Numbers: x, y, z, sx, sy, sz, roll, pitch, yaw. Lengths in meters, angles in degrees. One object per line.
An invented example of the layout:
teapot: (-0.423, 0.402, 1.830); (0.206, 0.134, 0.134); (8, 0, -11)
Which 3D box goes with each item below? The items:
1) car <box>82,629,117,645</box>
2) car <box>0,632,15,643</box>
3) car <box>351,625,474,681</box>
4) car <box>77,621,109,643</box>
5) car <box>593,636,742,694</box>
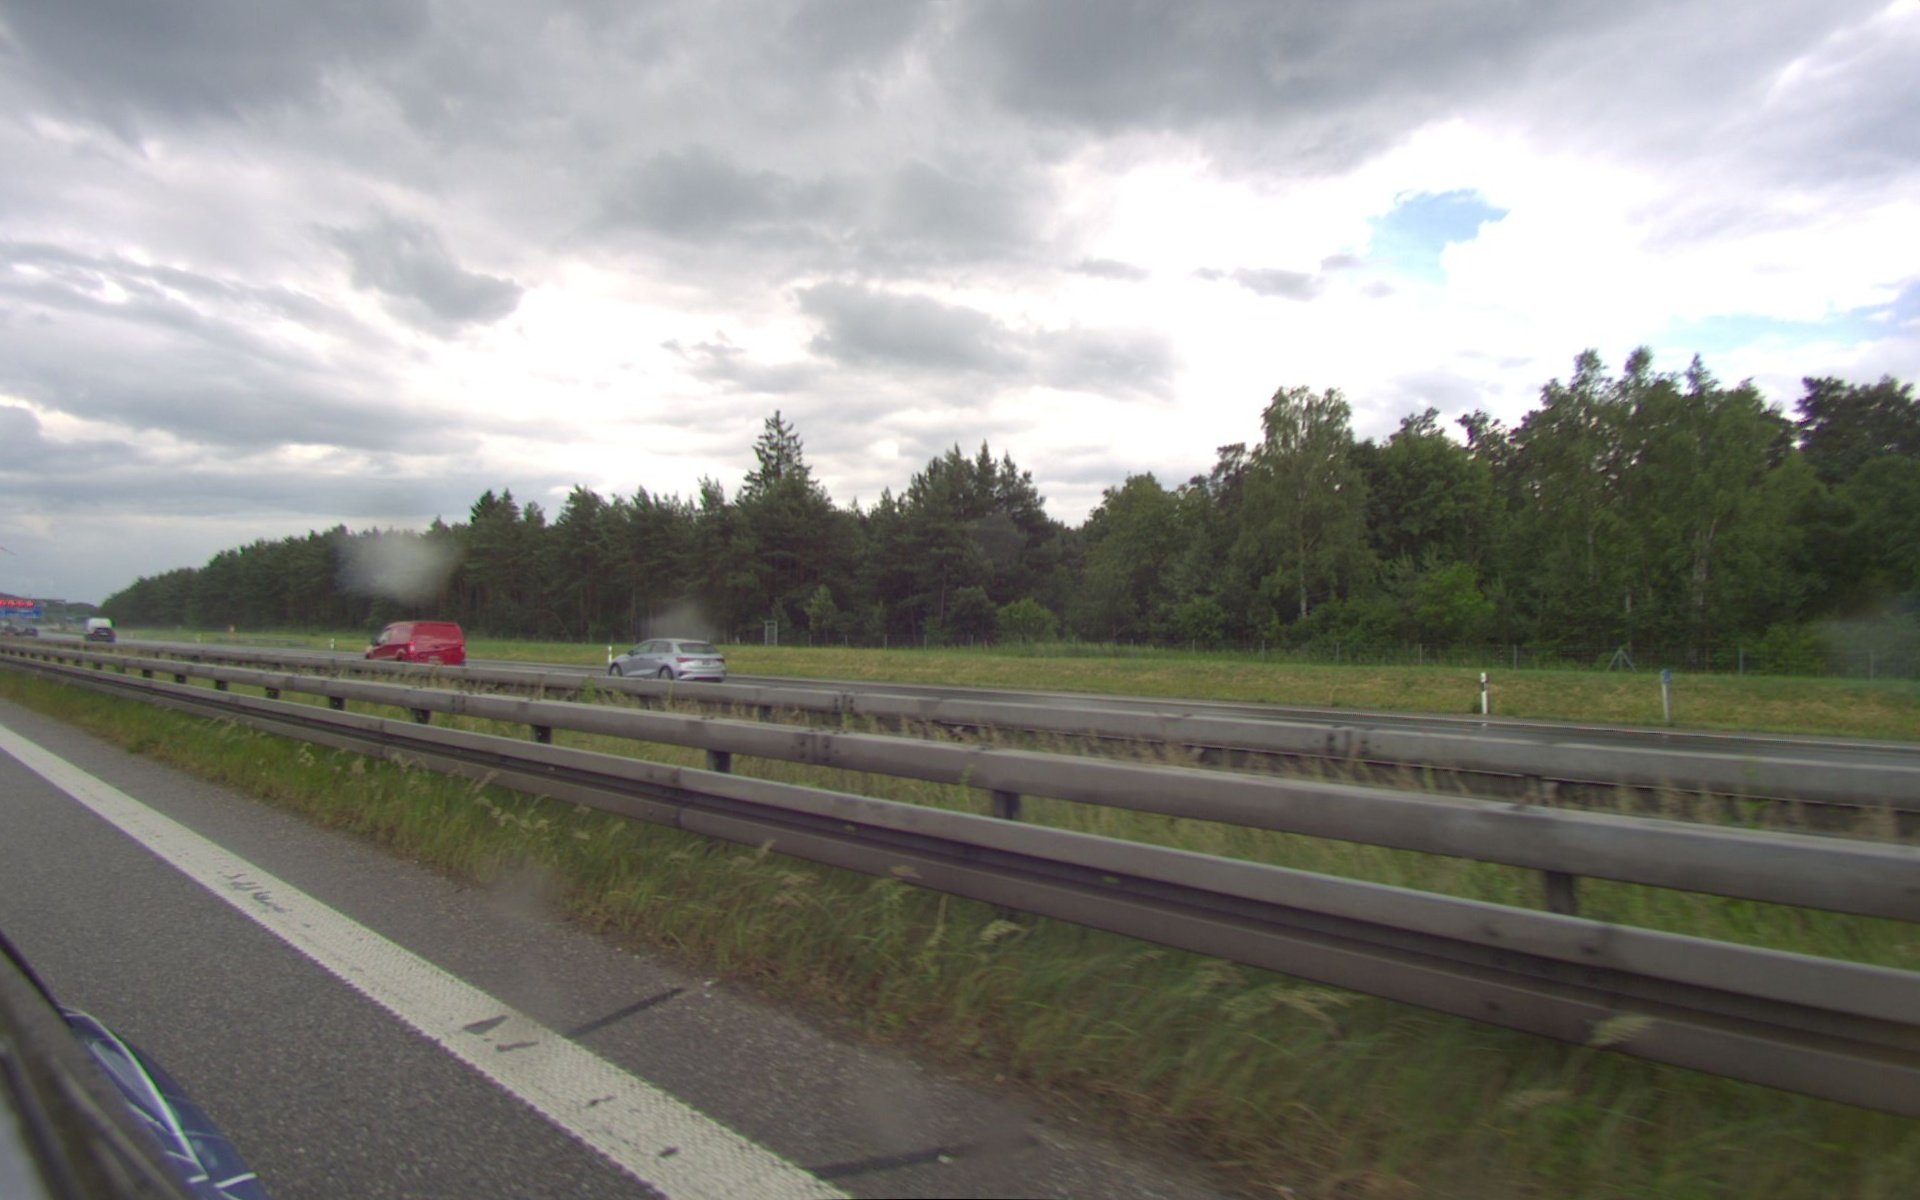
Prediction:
car: (-80.223, 3.438, 94.315); (3.997, 1.483, 1.855); (-1, -3, 40)
car: (-117.299, 4.622, 124.055); (4.666, 1.335, 1.679); (-2, -4, 42)
car: (-17.453, 1.628, 32.184); (4.606, 1.621, 1.973); (-1, -1, 41)
car: (-104.825, 3.918, 122.328); (6.582, 2.530, 2.076); (-2, -4, 42)
car: (-8.559, 1.853, 29.401); (4.606, 1.512, 1.972); (-1, -4, 41)
